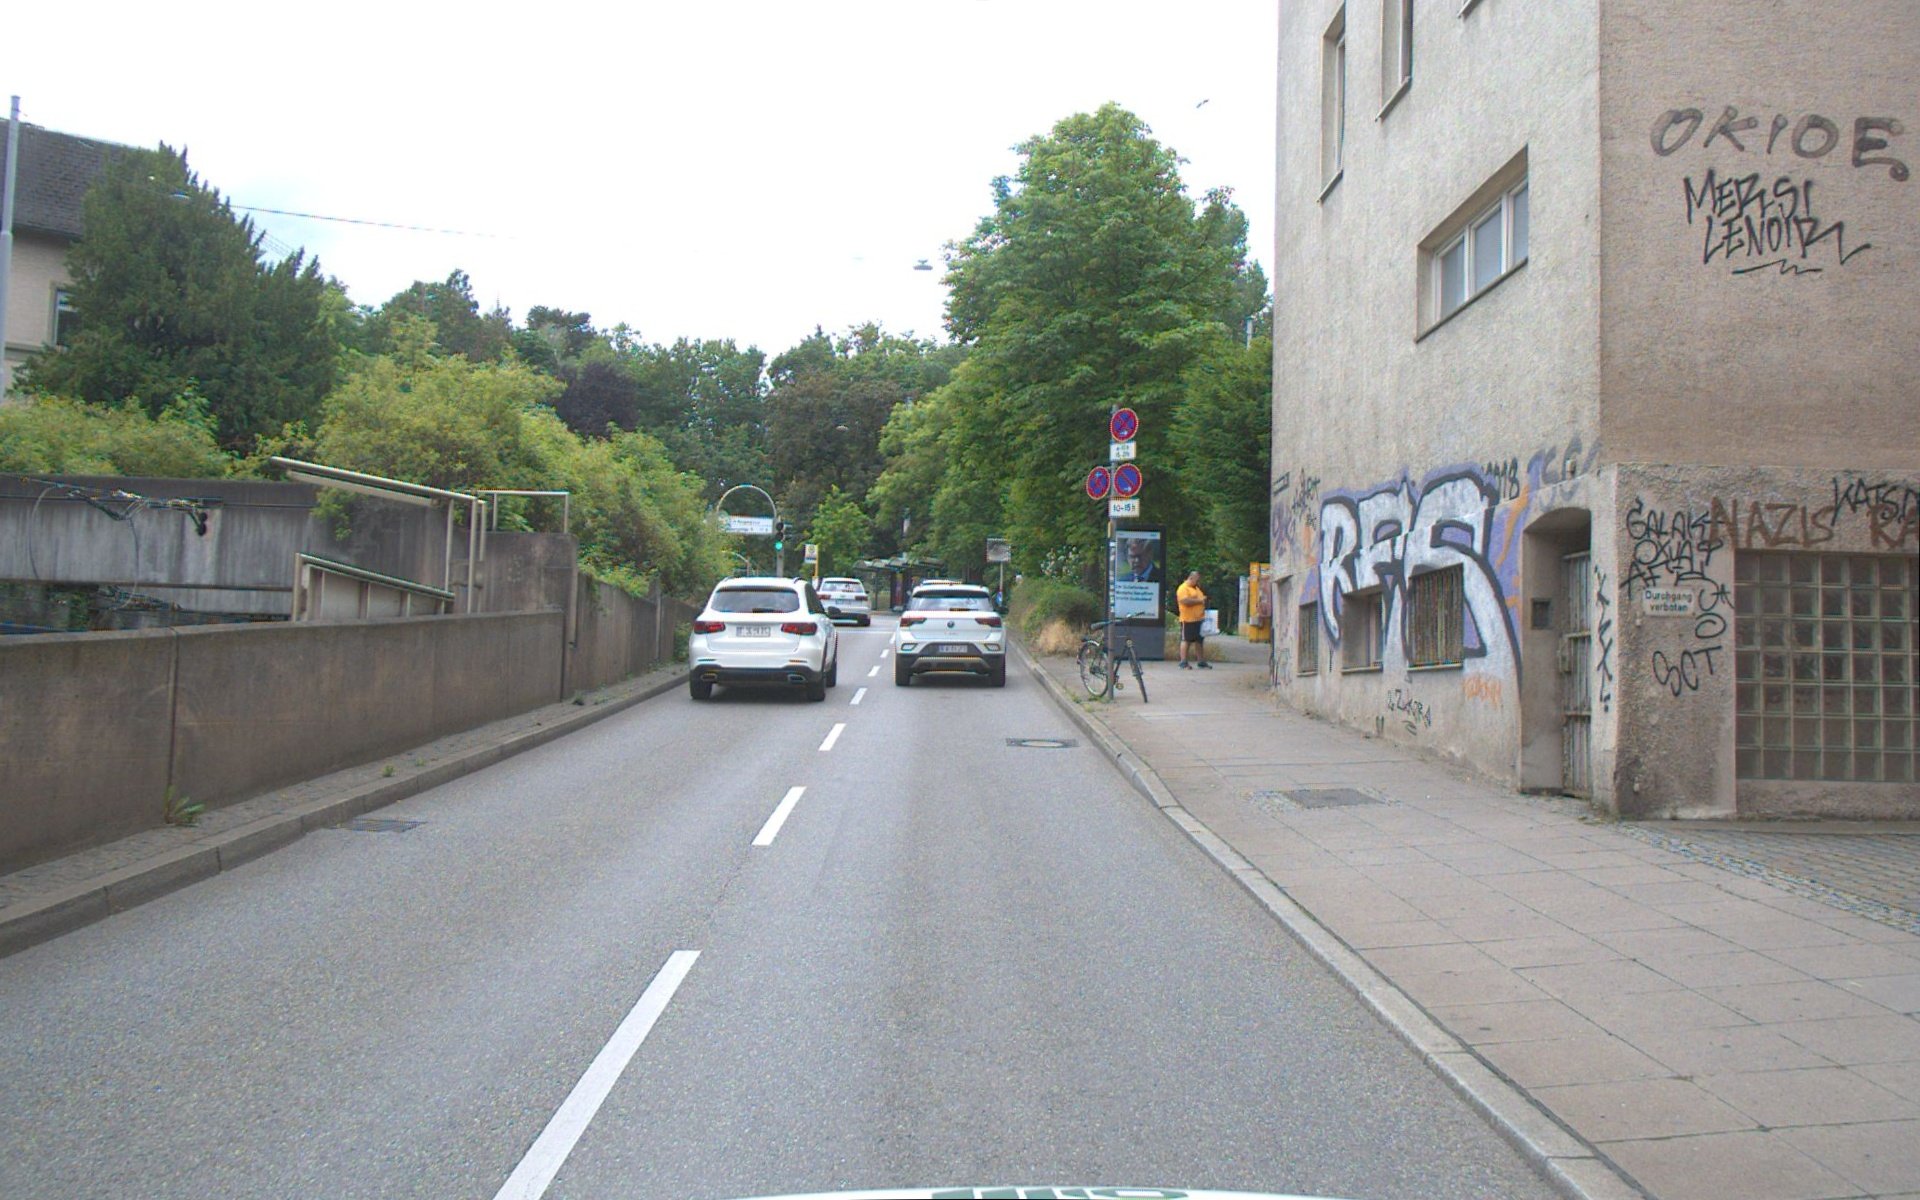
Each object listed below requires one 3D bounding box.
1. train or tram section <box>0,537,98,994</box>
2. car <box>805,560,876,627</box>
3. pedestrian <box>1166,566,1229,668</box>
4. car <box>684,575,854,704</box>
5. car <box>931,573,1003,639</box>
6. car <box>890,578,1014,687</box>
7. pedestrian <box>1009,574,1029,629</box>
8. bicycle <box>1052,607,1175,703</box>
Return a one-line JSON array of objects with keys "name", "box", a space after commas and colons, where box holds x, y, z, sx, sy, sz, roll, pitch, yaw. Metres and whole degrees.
[{"name": "train or tram section", "box": [-8.793, 1.147, 7.797, 2.890, 3.570, 12.980, 1, -1, -2]}, {"name": "car", "box": [-3.704, -0.209, 51.952, 1.953, 1.914, 3.999, 3, 0, -1]}, {"name": "pedestrian", "box": [4.112, 0.293, 28.672, 0.819, 1.742, 0.818, 0, 0, -15]}, {"name": "car", "box": [-2.634, 0.509, 23.748, 1.838, 1.681, 4.342, 0, 0, 1]}, {"name": "car", "box": [0.164, 0.153, 44.743, 1.823, 1.660, 3.958, 1, 0, -1]}, {"name": "car", "box": [-0.110, 0.487, 26.925, 1.826, 1.583, 3.894, 2, 0, 0]}, {"name": "pedestrian", "box": [1.863, 0.046, 52.029, 0.602, 1.742, 0.727, 0, 0, 3]}, {"name": "bicycle", "box": [1.957, 0.679, 21.411, 0.630, 1.163, 2.049, -1, 0, -25]}]
